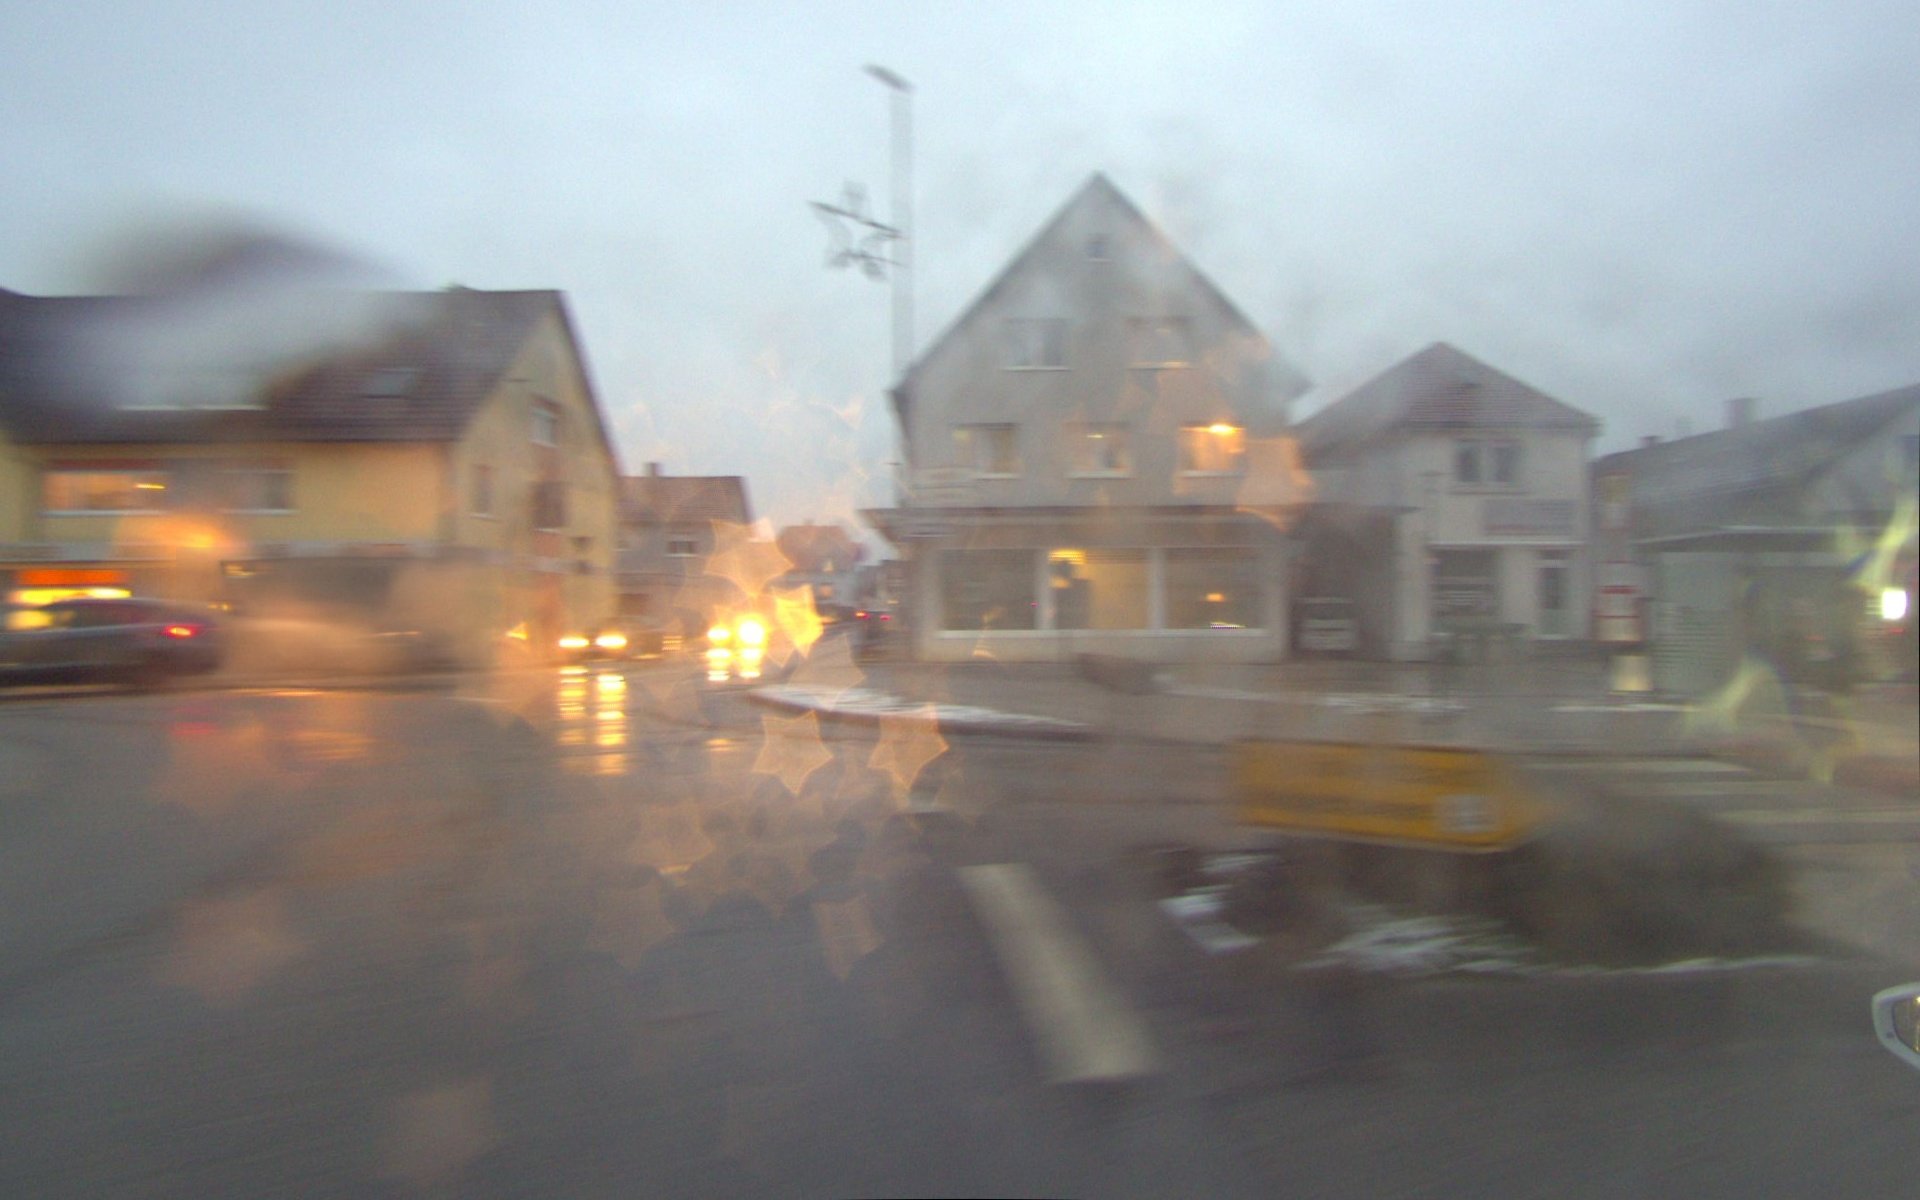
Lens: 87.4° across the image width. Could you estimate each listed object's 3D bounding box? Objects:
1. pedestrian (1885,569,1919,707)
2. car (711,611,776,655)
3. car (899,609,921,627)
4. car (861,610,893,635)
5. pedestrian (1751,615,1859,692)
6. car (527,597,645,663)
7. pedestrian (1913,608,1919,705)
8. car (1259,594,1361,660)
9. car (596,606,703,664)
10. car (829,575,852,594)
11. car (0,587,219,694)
[{"bbox_3d":[13.077,0.507,13.584,0.525,1.842,0.724,-1,0,-33],"label":"pedestrian"},{"bbox_3d":[-9.538,1.431,44.537,1.961,1.791,4.368,-1,0,-1],"label":"car"},{"bbox_3d":[-4.755,1.673,95.713,1.902,1.639,3.865,-1,0,-1],"label":"car"},{"bbox_3d":[-5.532,1.484,67.314,1.902,1.639,3.865,-1,0,-1],"label":"car"},{"bbox_3d":[11.874,0.739,14.138,0.797,1.024,0.862,0,0,-13],"label":"pedestrian"},{"bbox_3d":[-11.122,0.850,30.215,1.961,1.791,4.368,-1,0,-1],"label":"car"},{"bbox_3d":[13.935,0.789,13.931,0.703,1.366,0.784,0,0,-10],"label":"pedestrian"},{"bbox_3d":[10.373,0.759,30.066,1.773,1.821,4.001,-1,0,3],"label":"car"},{"bbox_3d":[-8.310,0.901,27.250,1.736,1.422,3.915,-1,0,-1],"label":"car"},{"bbox_3d":[-11.417,-1.464,96.181,1.843,1.705,3.998,-1,0,-3],"label":"car"},{"bbox_3d":[-15.526,0.682,17.058,1.967,1.688,4.355,-1,-2,35],"label":"car"}]
